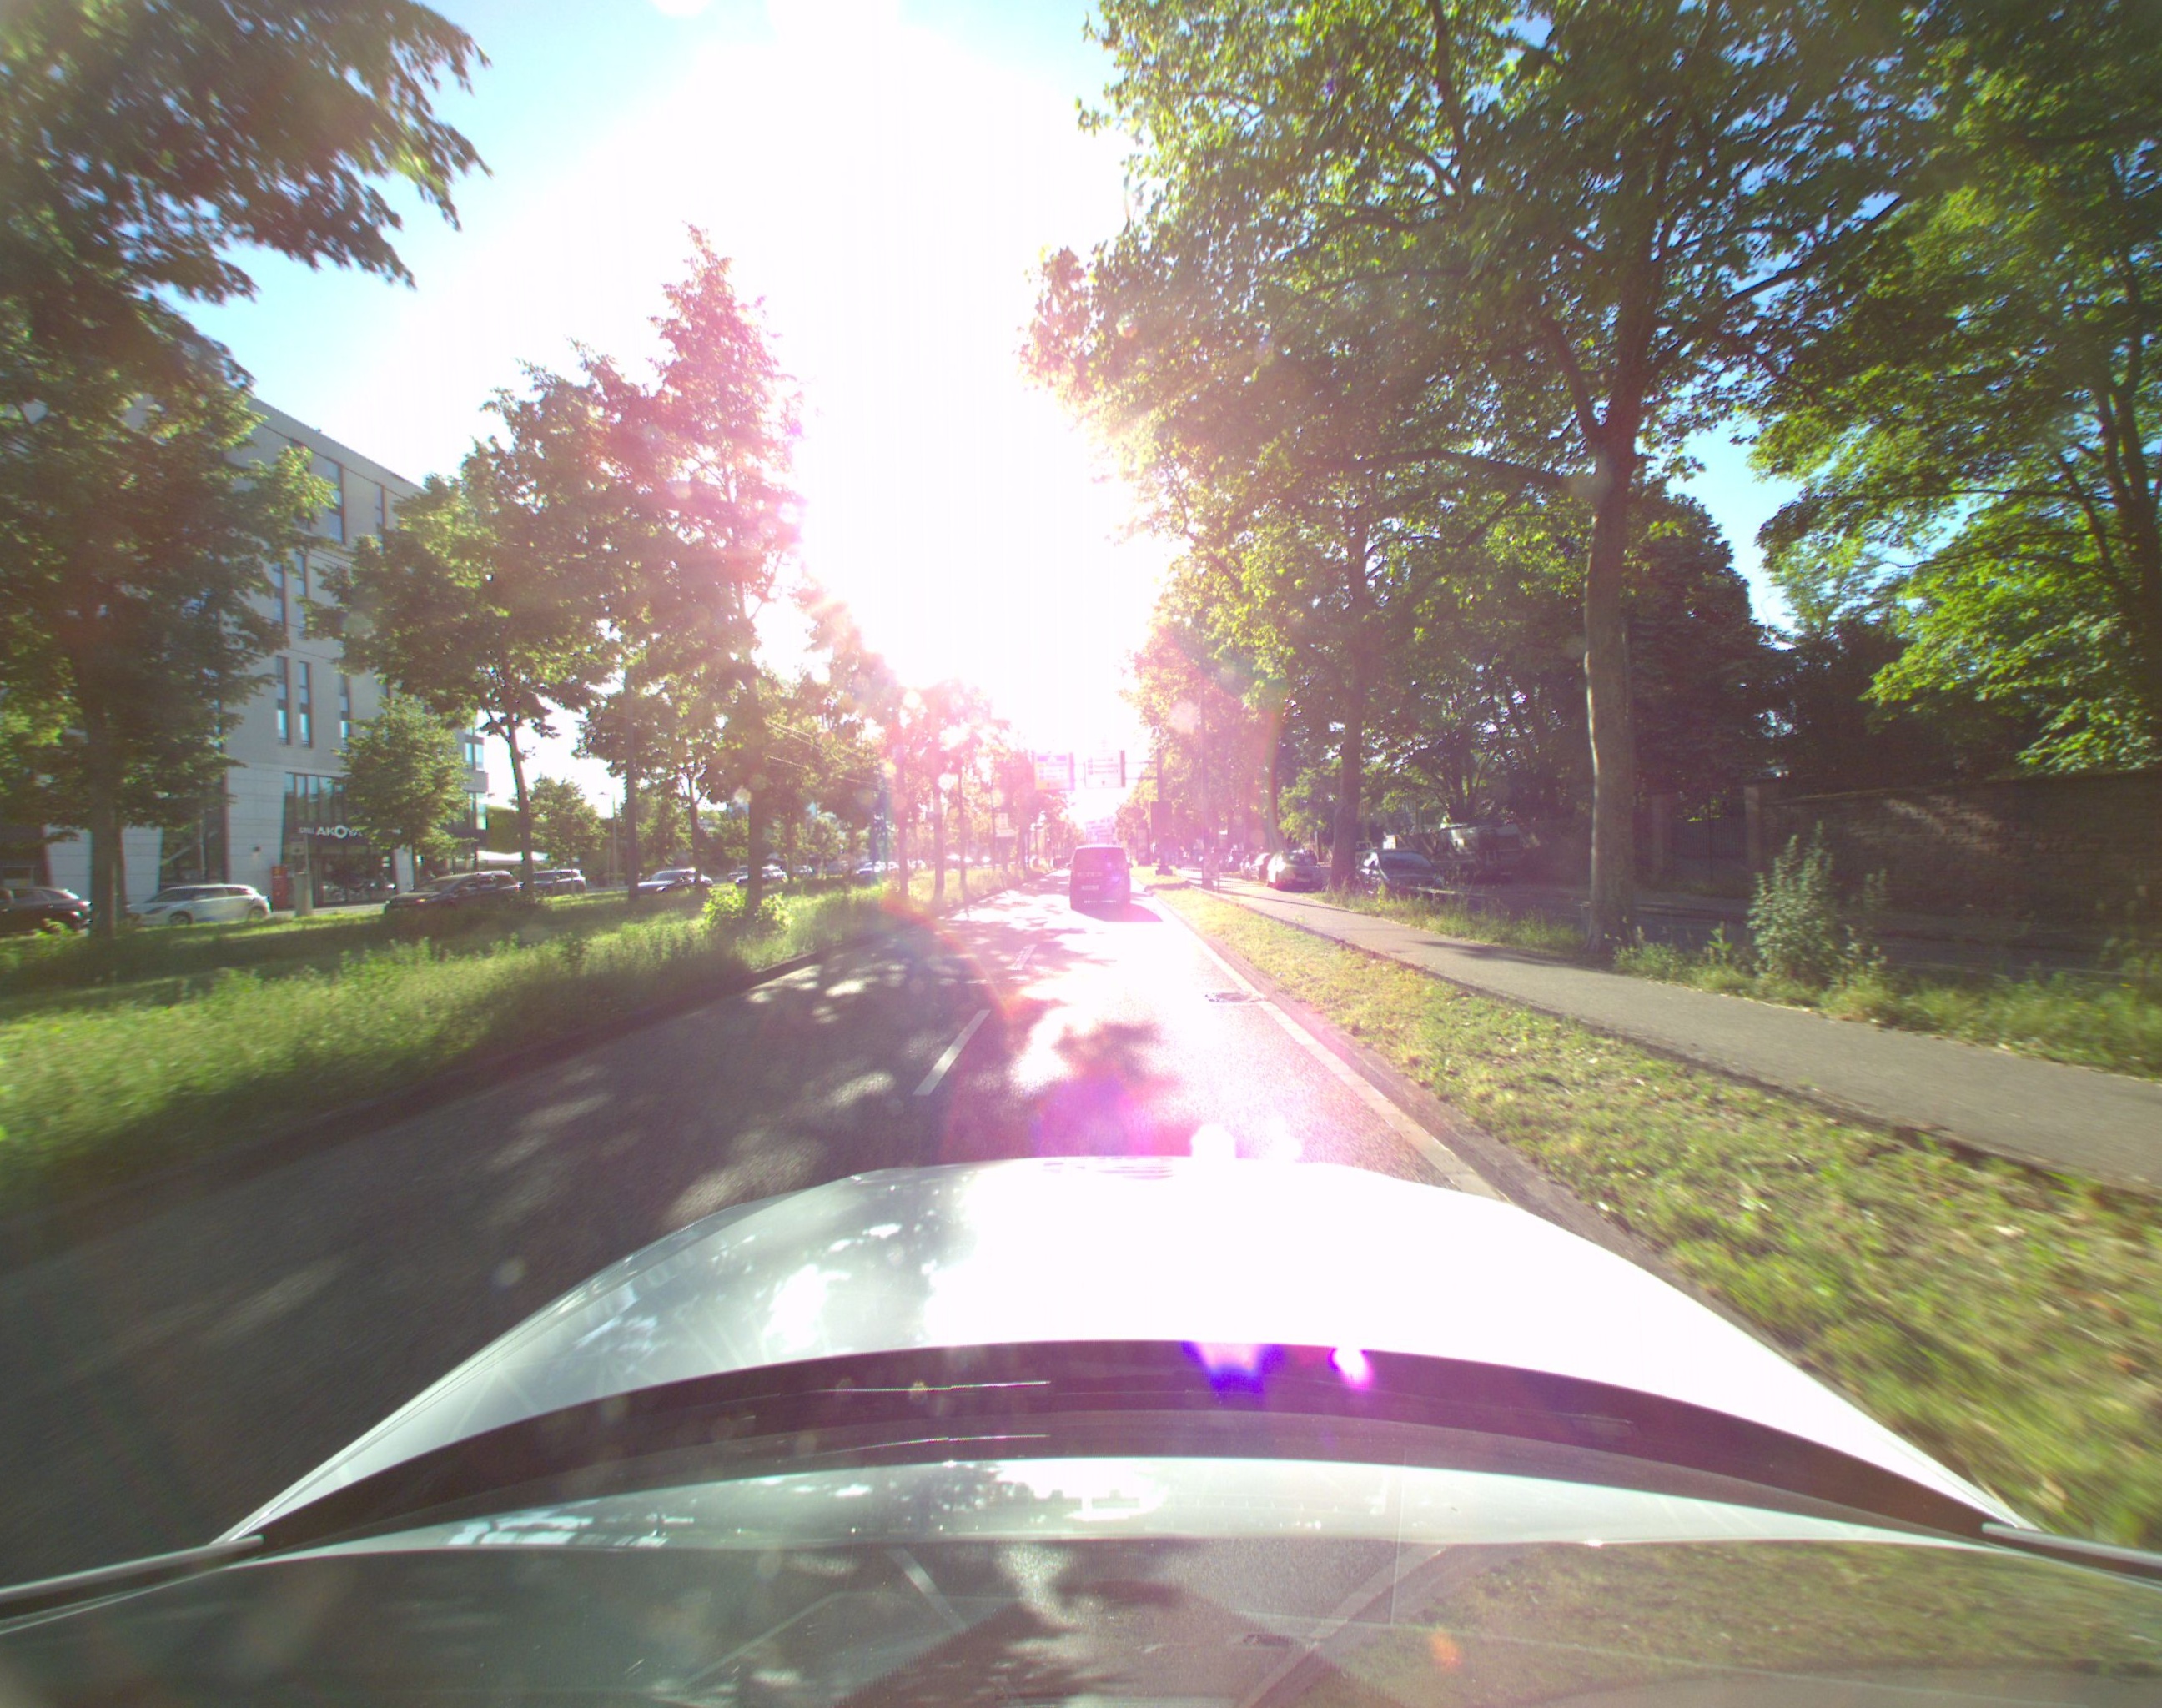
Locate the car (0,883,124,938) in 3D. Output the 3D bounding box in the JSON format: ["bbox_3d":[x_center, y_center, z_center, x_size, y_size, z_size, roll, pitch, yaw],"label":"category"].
[{"bbox_3d":[-30.410,1.578,22.541,1.987,1.441,4.934,0,-1,-1],"label":"car"}]

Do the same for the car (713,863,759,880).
[{"bbox_3d":[-29.777,1.498,70.411,1.871,1.435,4.614,0,-1,3],"label":"car"}]

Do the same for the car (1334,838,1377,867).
[{"bbox_3d":[20.512,-0.099,61.061,2.076,2.014,4.951,-1,0,6],"label":"car"}]

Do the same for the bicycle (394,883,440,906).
[{"bbox_3d":[-37.073,2.268,45.505,0.731,1.198,2.241,0,-1,1],"label":"bicycle"}]

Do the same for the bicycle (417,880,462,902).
[{"bbox_3d":[-32.499,1.856,41.272,0.495,1.001,2.189,0,-1,1],"label":"bicycle"}]

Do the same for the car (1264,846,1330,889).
[{"bbox_3d":[8.396,0.514,31.999,1.785,1.560,4.025,2,0,5],"label":"car"}]

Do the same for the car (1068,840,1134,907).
[{"bbox_3d":[0.527,0.550,24.517,1.803,1.838,3.998,0,-1,-1],"label":"car"}]

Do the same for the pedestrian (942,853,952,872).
[{"bbox_3d":[-13.128,0.865,79.774,0.818,1.836,0.726,0,-1,-1],"label":"pedestrian"}]

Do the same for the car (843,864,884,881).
[{"bbox_3d":[-18.359,1.554,69.037,1.984,1.441,4.461,0,-1,4],"label":"car"}]

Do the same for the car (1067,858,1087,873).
[{"bbox_3d":[-0.441,1.261,89.679,1.986,1.618,4.002,0,-1,2],"label":"car"}]

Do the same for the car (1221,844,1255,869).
[{"bbox_3d":[10.757,0.193,56.204,1.729,1.642,4.356,0,-1,3],"label":"car"}]

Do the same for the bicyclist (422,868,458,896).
[{"bbox_3d":[-32.499,1.406,41.299,0.487,1.406,1.661,0,-1,1],"label":"bicyclist"}]

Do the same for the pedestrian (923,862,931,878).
[{"bbox_3d":[-14.731,1.516,78.029,0.547,1.518,0.589,0,-1,6],"label":"pedestrian"}]

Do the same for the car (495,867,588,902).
[{"bbox_3d":[-29.911,1.652,45.330,1.987,1.772,4.774,0,-1,-1],"label":"car"}]

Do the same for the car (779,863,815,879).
[{"bbox_3d":[-29.460,1.741,84.580,1.871,1.621,4.614,0,-1,3],"label":"car"}]

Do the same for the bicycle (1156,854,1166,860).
[{"bbox_3d":[16.367,0.626,166.089,1.910,1.268,0.479,-1,0,2],"label":"bicycle"}]

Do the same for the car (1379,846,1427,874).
[{"bbox_3d":[18.789,0.332,47.677,1.681,1.472,3.765,-4,-1,7],"label":"car"}]

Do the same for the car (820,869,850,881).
[{"bbox_3d":[-28.777,2.386,95.317,1.905,1.325,4.614,0,-1,3],"label":"car"}]

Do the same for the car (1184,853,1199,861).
[{"bbox_3d":[17.566,0.504,129.757,1.864,1.367,4.001,0,-1,2],"label":"car"}]

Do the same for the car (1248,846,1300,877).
[{"bbox_3d":[9.146,0.355,38.909,1.785,1.438,3.887,0,-1,3],"label":"car"}]

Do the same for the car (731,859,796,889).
[{"bbox_3d":[-20.756,1.268,53.472,1.986,1.841,5.252,-1,0,2],"label":"car"}]

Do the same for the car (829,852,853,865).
[{"bbox_3d":[-35.589,0.680,121.062,1.985,2.014,4.566,0,-1,3],"label":"car"}]

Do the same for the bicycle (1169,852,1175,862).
[{"bbox_3d":[10.163,0.365,91.049,0.491,1.046,1.905,0,-1,3],"label":"bicycle"}]

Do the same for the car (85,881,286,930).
[{"bbox_3d":[-30.560,1.715,28.053,1.988,1.441,4.454,0,-1,-1],"label":"car"}]

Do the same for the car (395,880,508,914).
[{"bbox_3d":[-29.941,2.020,38.914,1.950,1.441,4.267,0,-1,2],"label":"car"}]

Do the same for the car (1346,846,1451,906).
[{"bbox_3d":[9.299,0.612,24.249,1.784,1.634,4.635,0,-1,6],"label":"car"}]

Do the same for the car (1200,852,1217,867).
[{"bbox_3d":[13.686,0.594,87.467,1.654,1.500,2.992,0,-1,4],"label":"car"}]

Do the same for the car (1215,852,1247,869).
[{"bbox_3d":[11.625,0.490,63.457,1.985,1.290,4.056,0,-1,3],"label":"car"}]

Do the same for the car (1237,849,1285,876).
[{"bbox_3d":[9.857,0.474,44.943,1.984,1.381,4.683,1,0,5],"label":"car"}]

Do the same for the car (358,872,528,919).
[{"bbox_3d":[-21.930,1.379,28.304,1.984,1.441,4.708,0,-1,4],"label":"car"}]

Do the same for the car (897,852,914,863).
[{"bbox_3d":[-33.165,0.696,153.756,1.985,2.014,4.566,0,-1,3],"label":"car"}]

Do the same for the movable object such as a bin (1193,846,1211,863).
[{"bbox_3d":[14.548,0.036,97.758,2.071,2.014,2.139,0,-1,5],"label":"movable object such as a bin"}]

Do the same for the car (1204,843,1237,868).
[{"bbox_3d":[11.905,0.158,69.758,2.181,2.014,5.824,0,-1,3],"label":"car"}]

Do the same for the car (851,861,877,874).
[{"bbox_3d":[-28.297,1.747,106.243,1.985,1.608,4.614,0,-1,3],"label":"car"}]

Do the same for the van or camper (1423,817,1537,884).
[{"bbox_3d":[18.156,-0.177,37.546,2.543,2.684,6.576,-4,0,6],"label":"van or camper"}]
